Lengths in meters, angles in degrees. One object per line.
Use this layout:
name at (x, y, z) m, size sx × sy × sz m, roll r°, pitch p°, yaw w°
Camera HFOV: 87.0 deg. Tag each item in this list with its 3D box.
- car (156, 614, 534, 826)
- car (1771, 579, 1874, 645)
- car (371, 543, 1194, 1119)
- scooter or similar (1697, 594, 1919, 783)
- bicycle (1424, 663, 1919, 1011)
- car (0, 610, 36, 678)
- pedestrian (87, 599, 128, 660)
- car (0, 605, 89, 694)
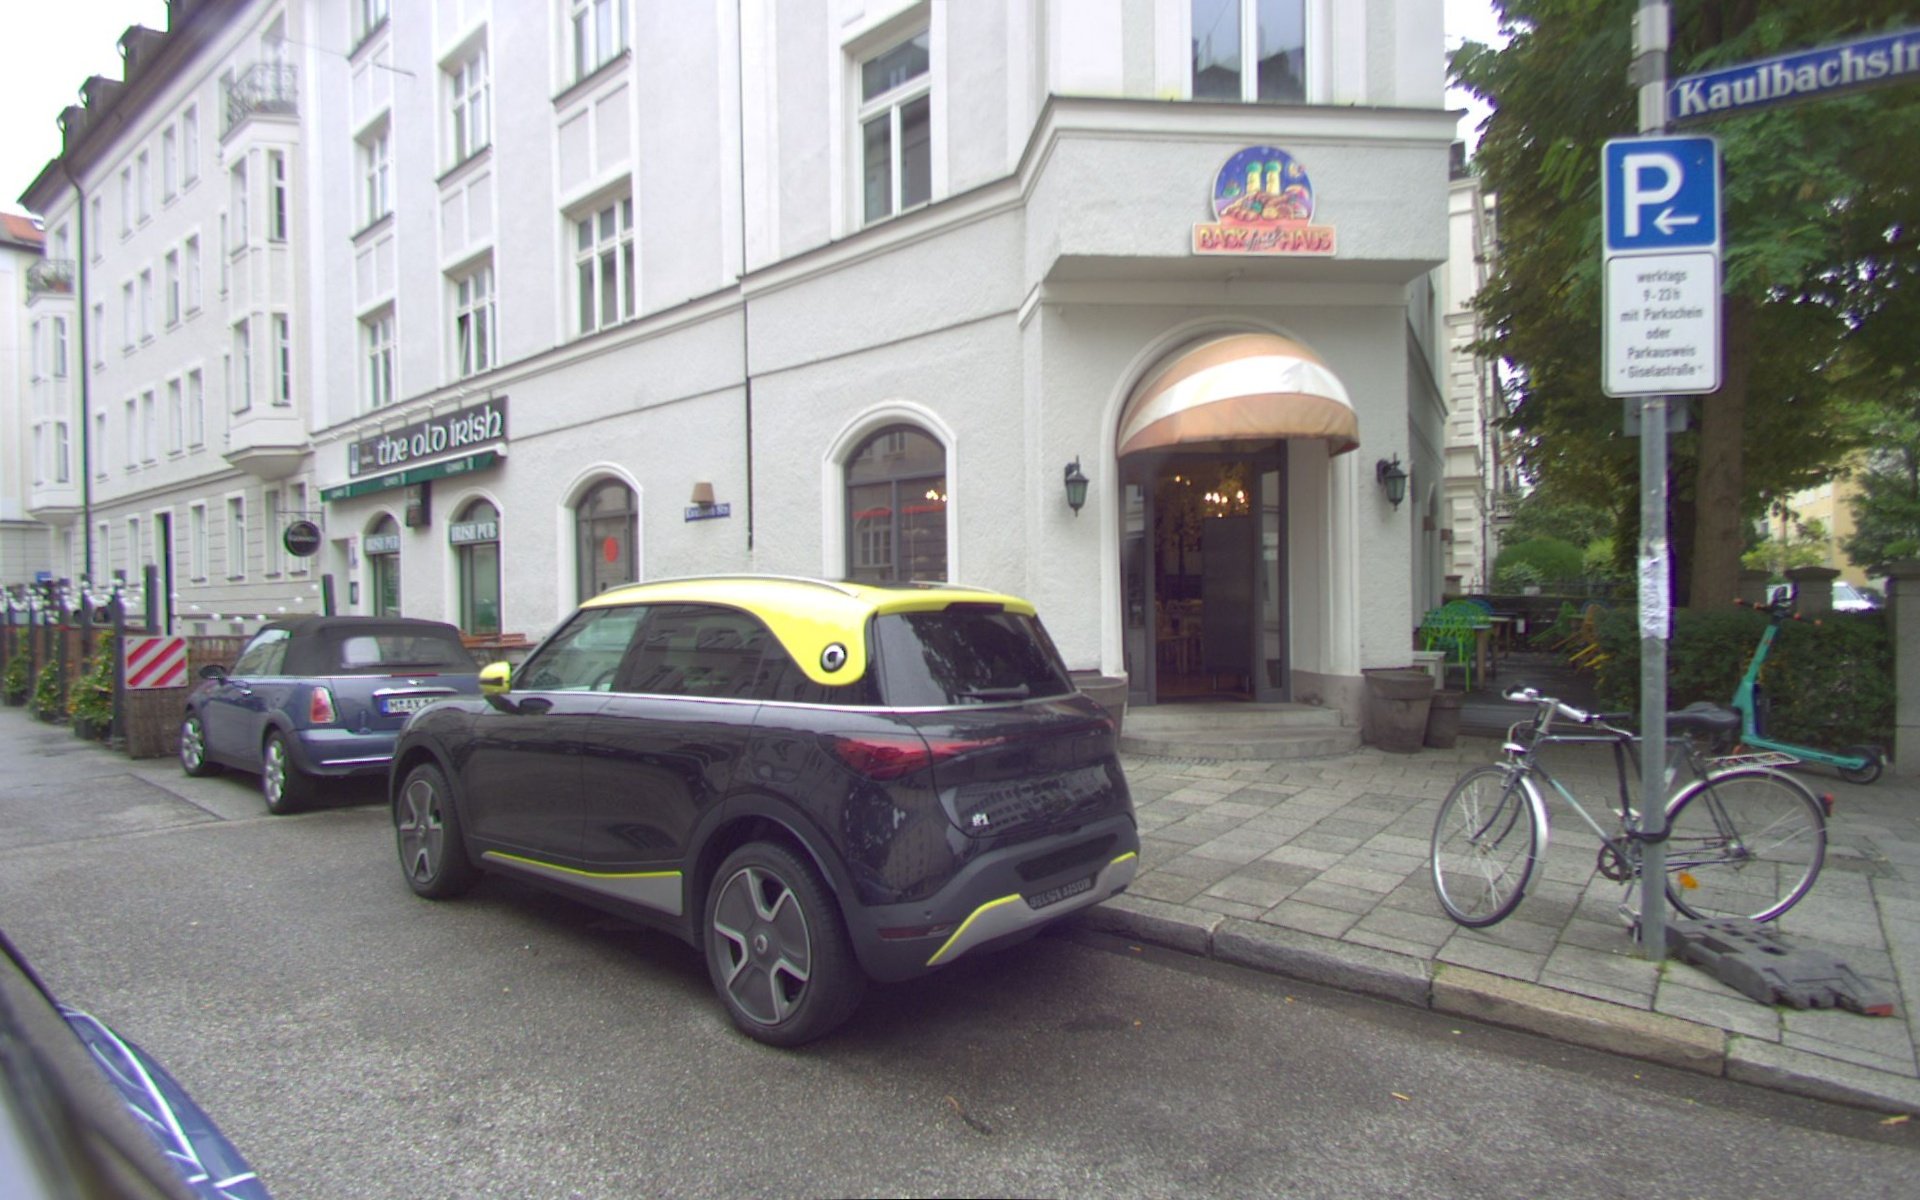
car at (-5.400, 0.826, 8.676) m, size 3.999 × 1.401 × 1.688 m, roll -1°, pitch -1°, yaw 42°
car at (23.160, 0.289, 27.298) m, size 1.910 × 1.620 × 4.085 m, roll 1°, pitch 1°, yaw 38°
car at (-1.080, 0.673, 4.753) m, size 3.942 × 1.609 × 1.659 m, roll 0°, pitch -2°, yaw 40°
scooter or similar at (6.117, 0.583, 7.293) m, size 0.547 × 1.225 × 1.190 m, roll -3°, pitch 2°, yaw -38°
bicycle at (2.760, 0.812, 3.879) m, size 1.642 × 1.053 × 0.894 m, roll -1°, pitch 2°, yaw 16°
car at (-23.112, 1.009, 23.517) m, size 4.175 × 1.498 × 1.725 m, roll -1°, pitch 0°, yaw 38°
pedestrian at (-24.441, 0.826, 29.017) m, size 0.654 × 1.720 × 0.702 m, roll -1°, pitch 0°, yaw -19°
car at (-19.727, 0.996, 20.898) m, size 4.268 × 1.686 × 1.730 m, roll -1°, pitch -3°, yaw 37°
